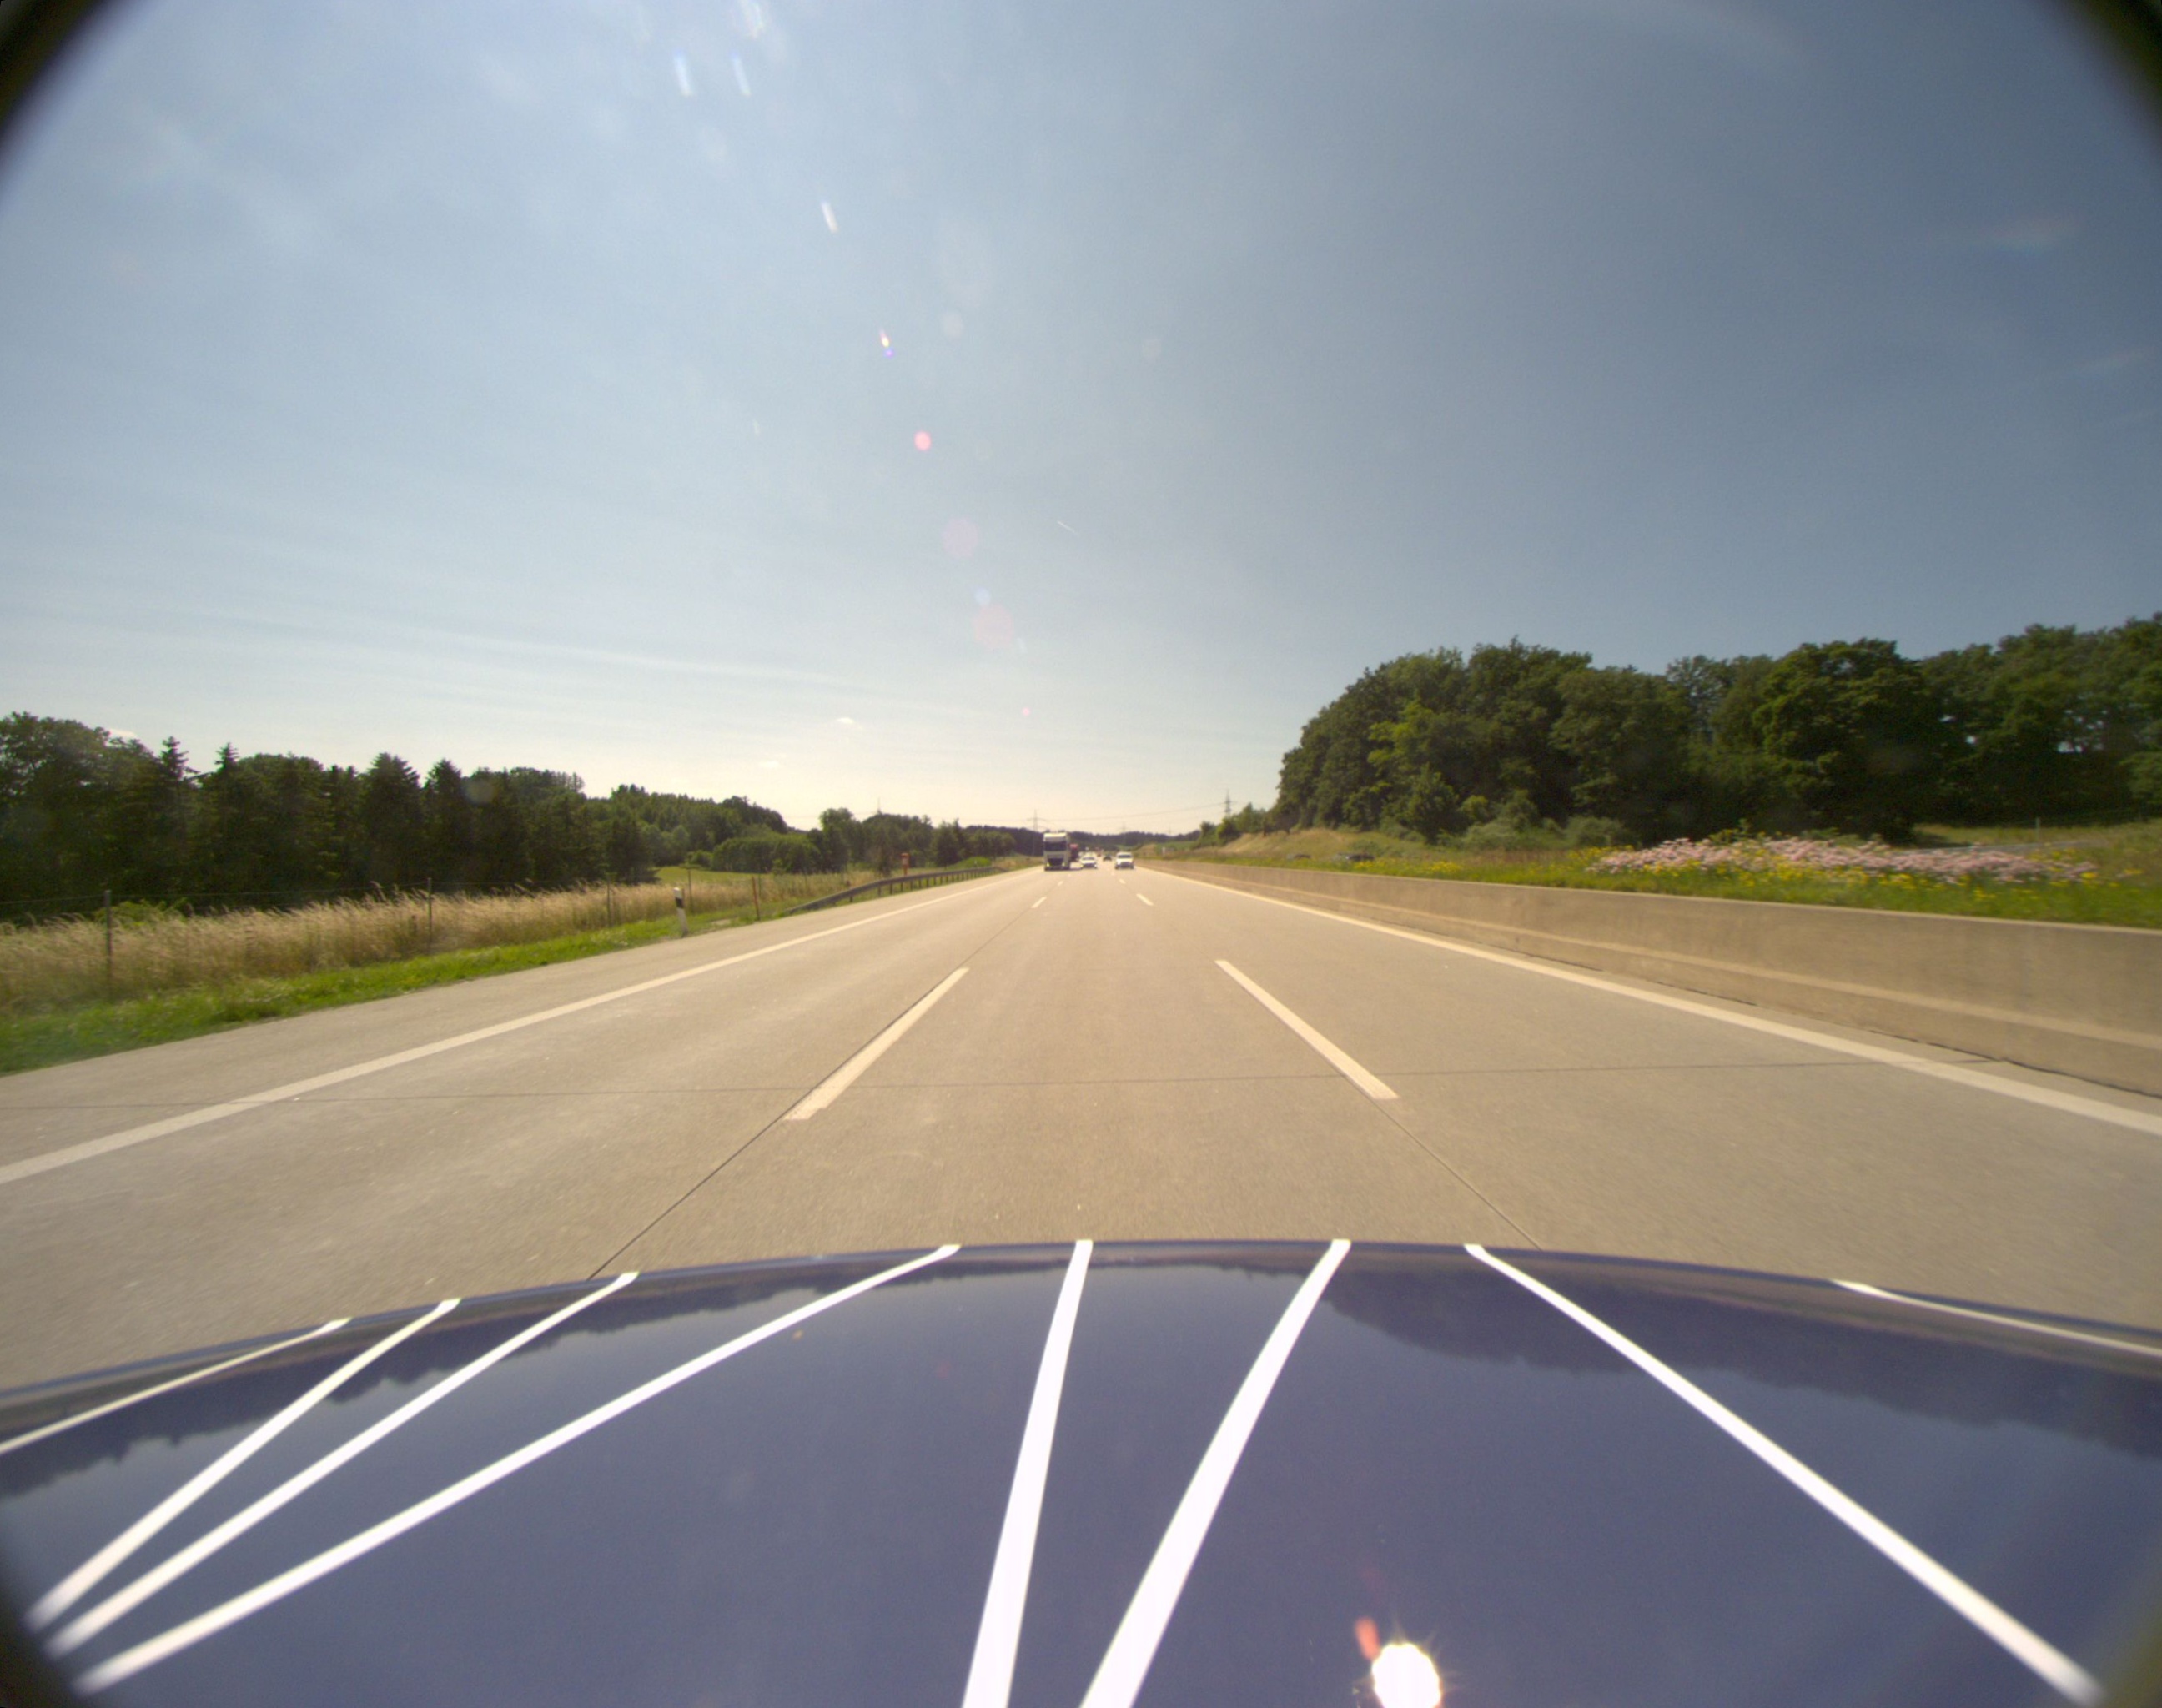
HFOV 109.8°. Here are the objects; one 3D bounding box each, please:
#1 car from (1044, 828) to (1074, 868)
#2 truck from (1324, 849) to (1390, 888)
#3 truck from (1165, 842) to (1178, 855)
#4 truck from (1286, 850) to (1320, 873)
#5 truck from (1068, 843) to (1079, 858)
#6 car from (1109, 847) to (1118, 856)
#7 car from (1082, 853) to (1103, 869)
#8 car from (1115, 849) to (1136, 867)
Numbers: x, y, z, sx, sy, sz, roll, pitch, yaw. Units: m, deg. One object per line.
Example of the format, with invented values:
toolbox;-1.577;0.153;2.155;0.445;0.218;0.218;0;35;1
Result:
car;-2.322;-0.668;84.627;2.766;4.029;10.852;-1;0;1
truck;13.666;0.683;37.830;1.827;1.806;3.971;-2;0;1
truck;24.985;-1.527;210.648;2.902;3.333;8.259;0;1;1
truck;17.869;0.581;61.328;1.662;1.806;3.579;-2;0;1
truck;-1.776;-0.747;175.961;2.351;3.473;5.245;-1;0;0
car;7.456;-0.574;175.260;1.998;1.835;6.529;-3;0;1
car;1.224;0.747;82.232;2.065;1.472;5.068;-5;0;1
car;4.582;0.381;79.080;1.850;1.698;6.035;-2;1;1
